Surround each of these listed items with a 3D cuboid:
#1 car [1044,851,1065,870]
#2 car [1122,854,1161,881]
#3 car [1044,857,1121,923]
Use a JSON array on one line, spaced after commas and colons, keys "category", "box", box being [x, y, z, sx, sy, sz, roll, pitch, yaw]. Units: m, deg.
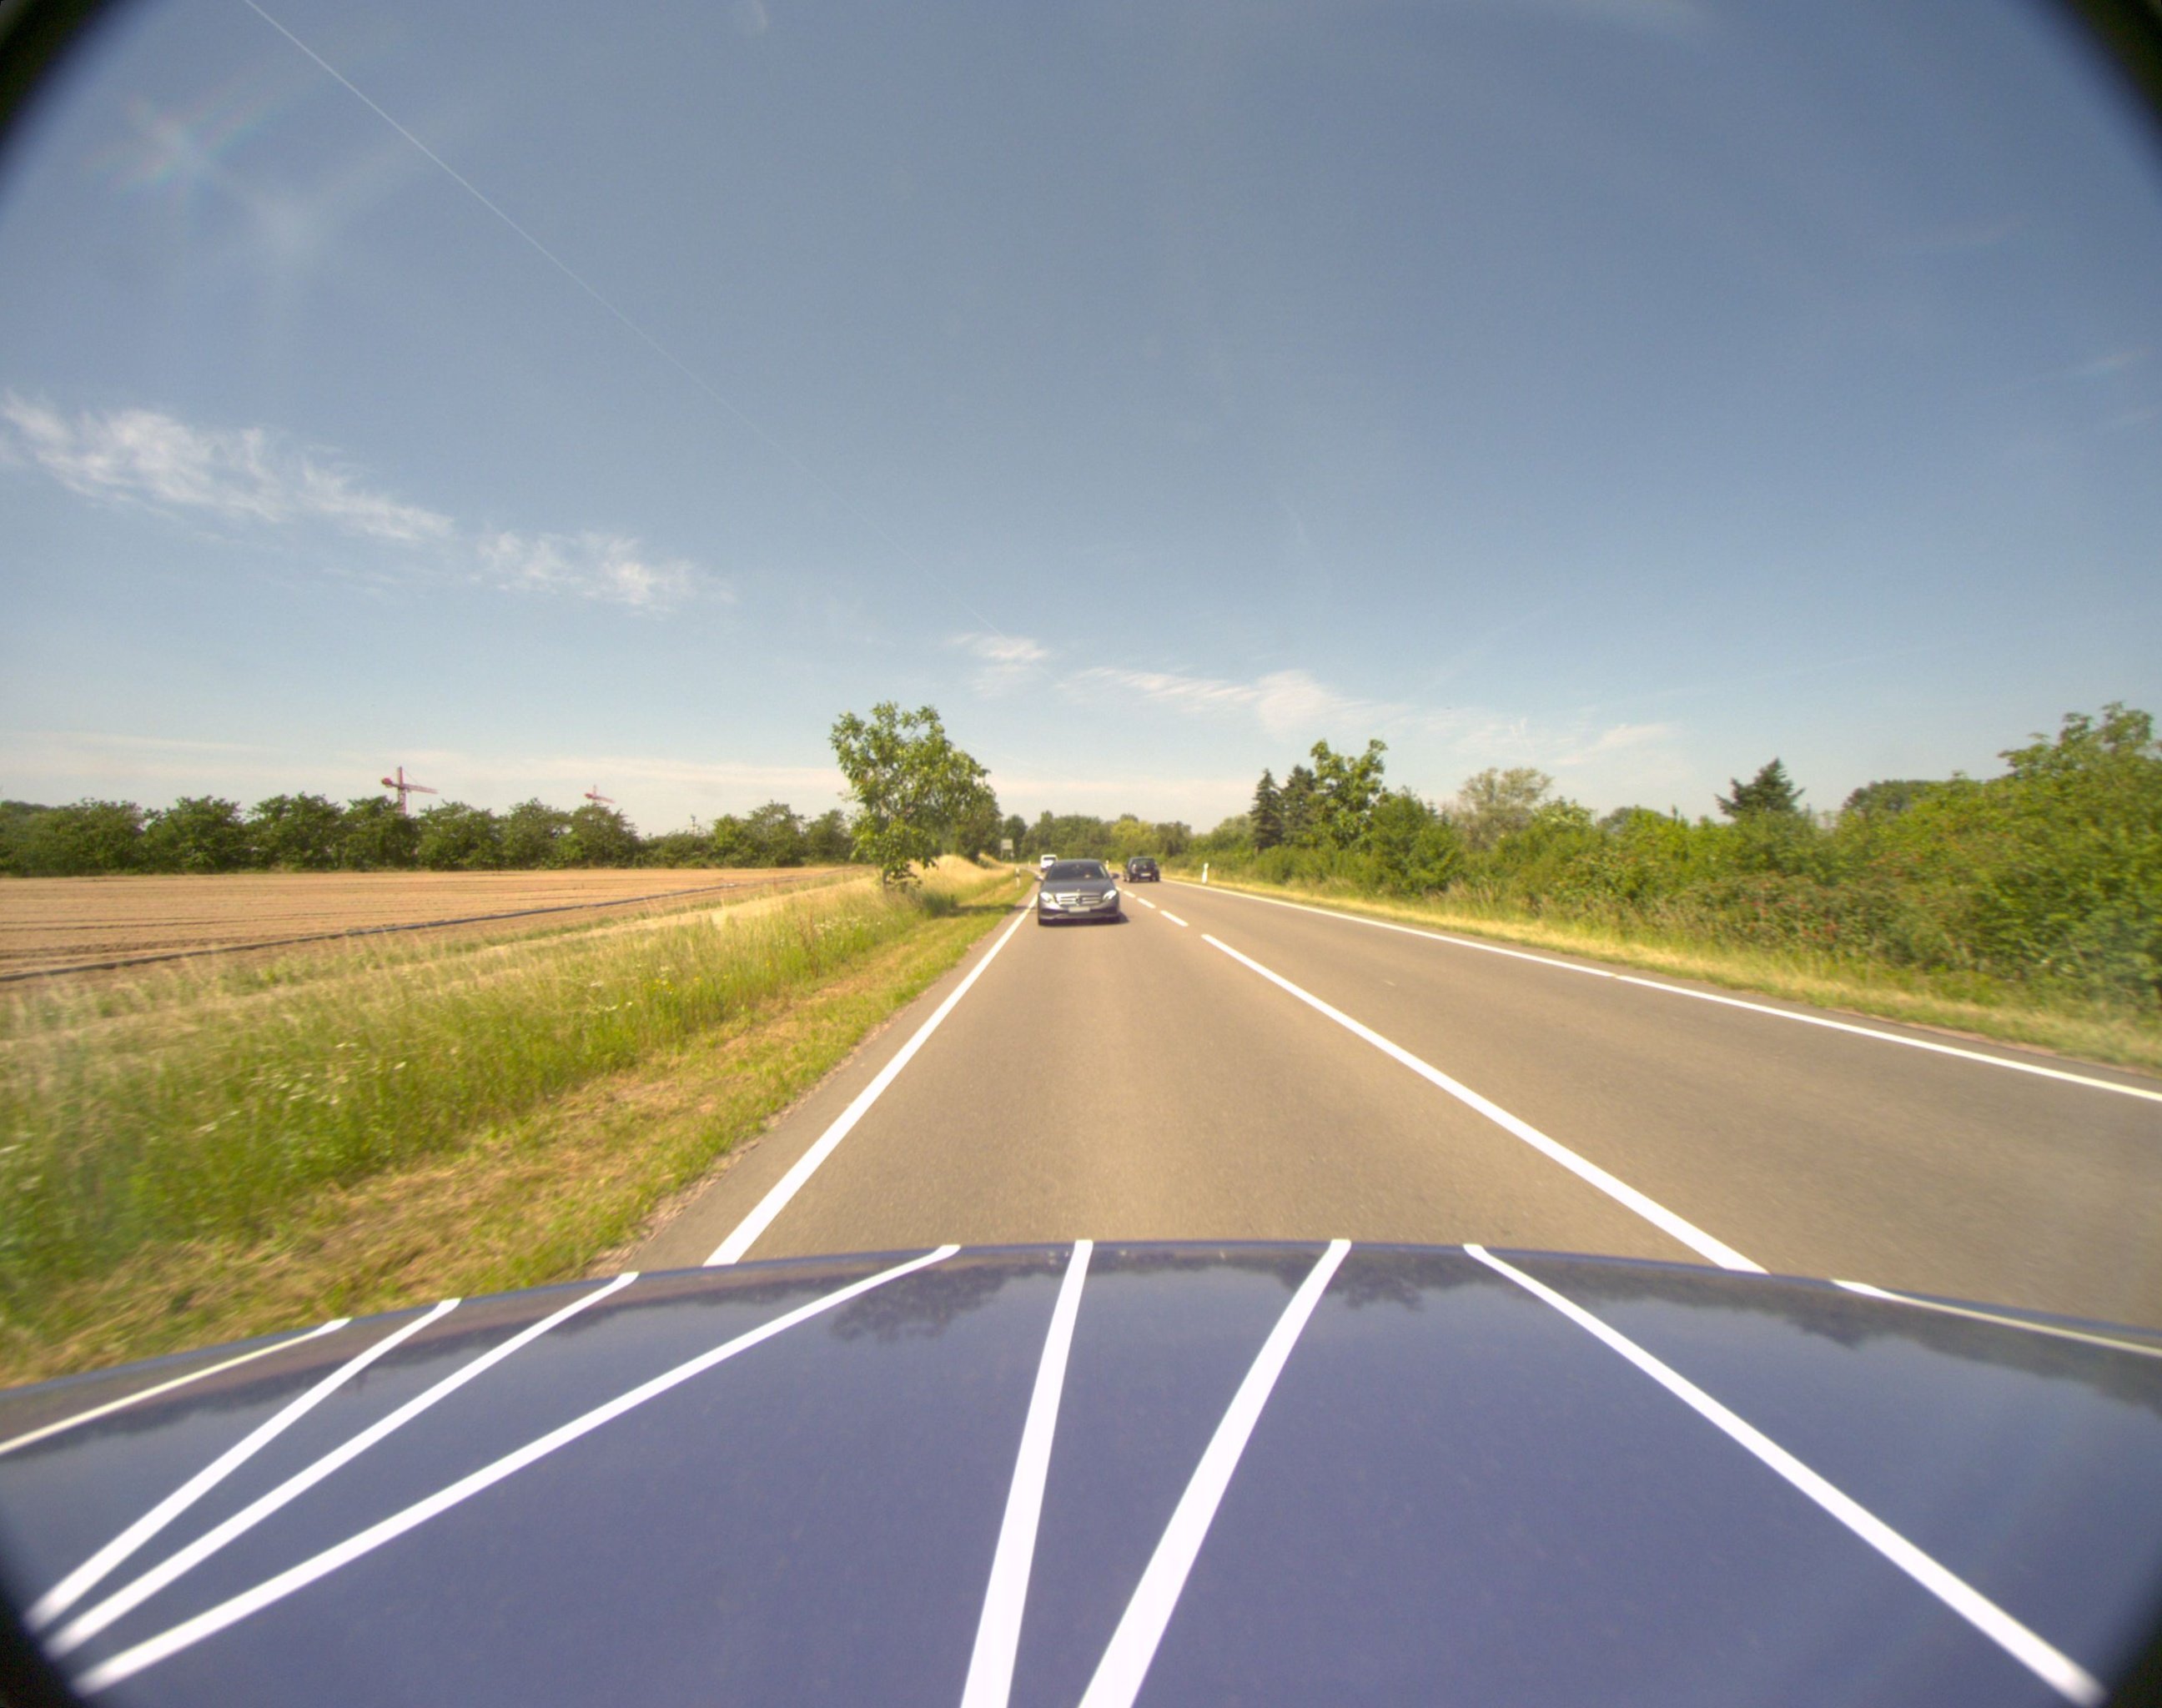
[{"category": "car", "box": [-2.995, 0.695, 84.855, 2.180, 2.002, 5.023, -3, 0, -4]}, {"category": "car", "box": [3.390, 0.747, 43.034, 1.697, 1.355, 3.825, -2, 1, -3]}, {"category": "car", "box": [-0.012, 0.874, 20.697, 1.831, 1.540, 4.498, -2, 0, -1]}]
